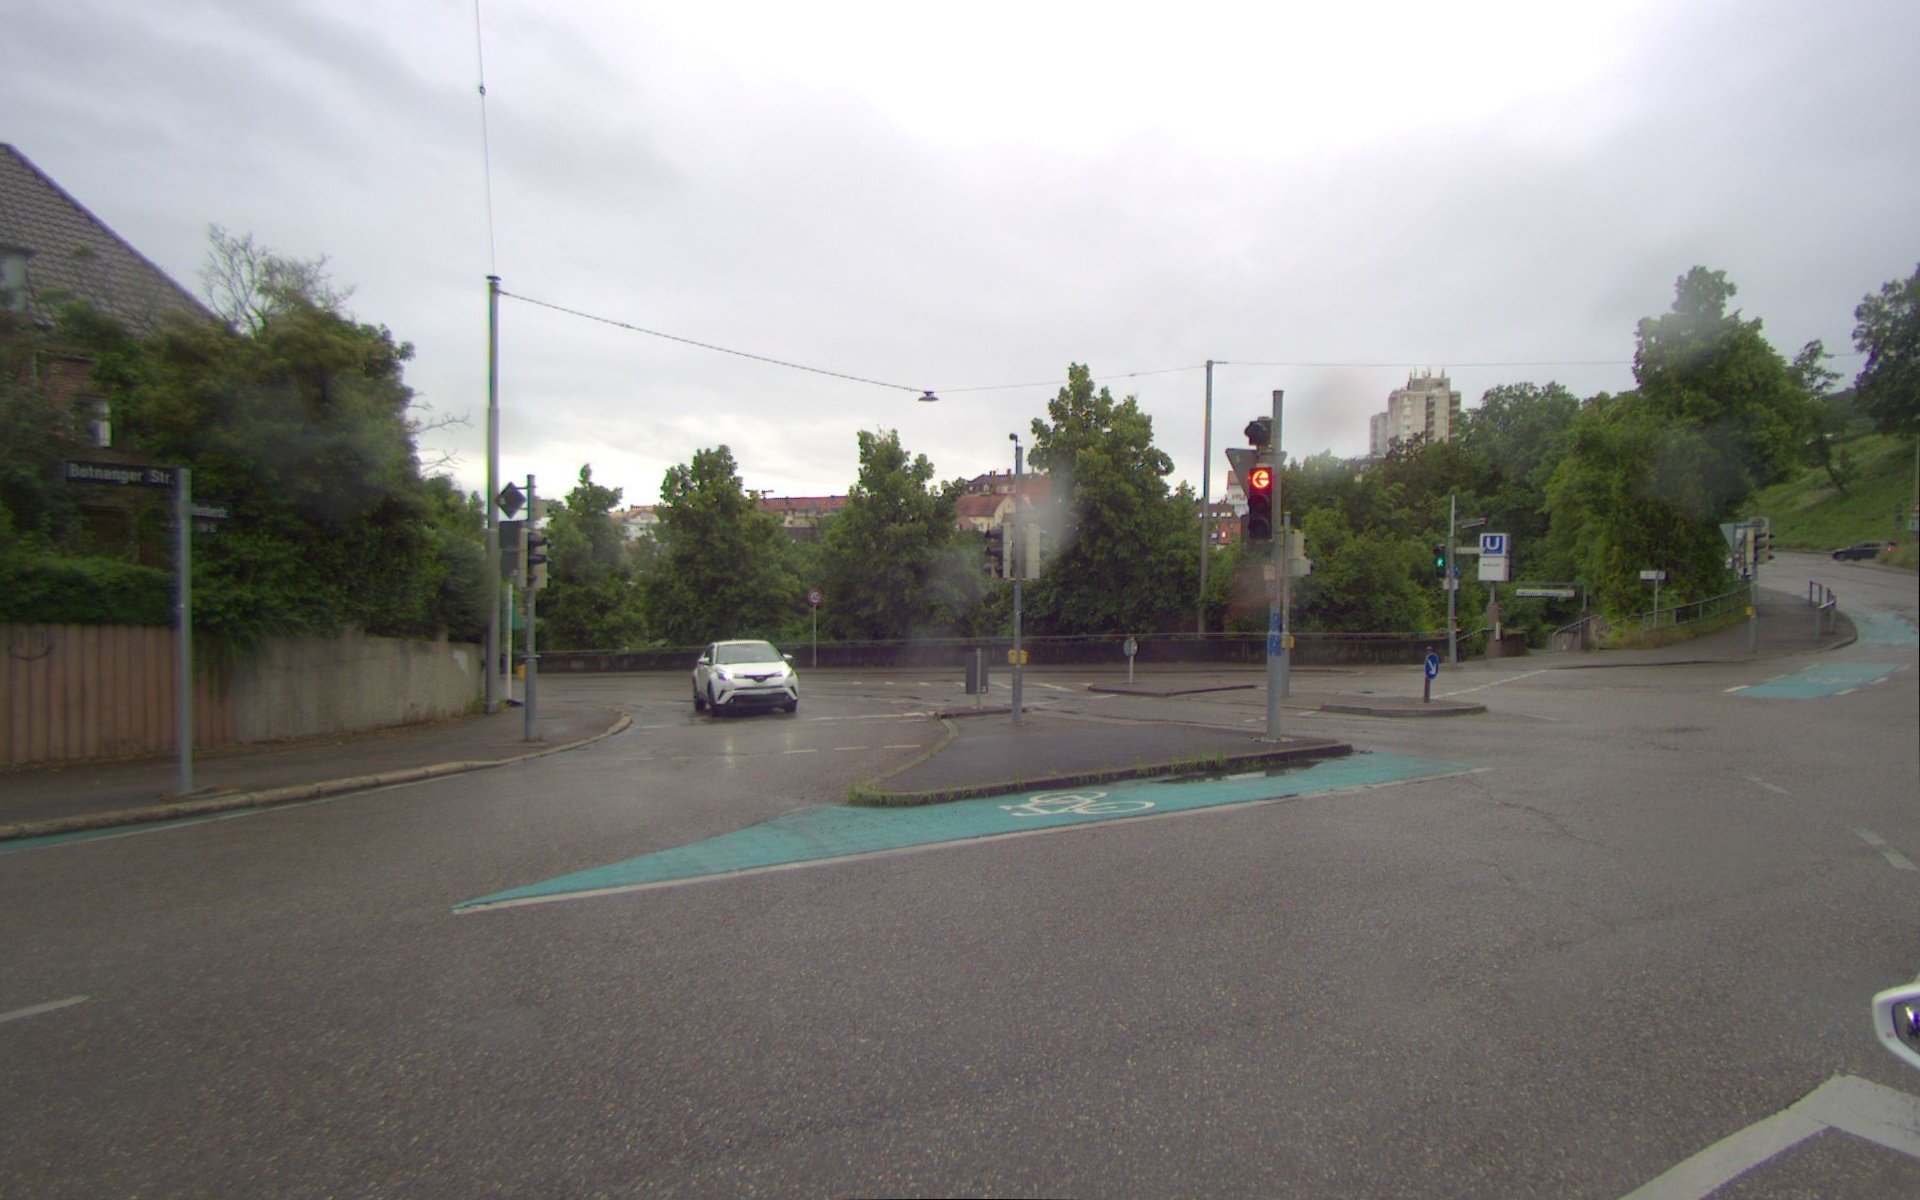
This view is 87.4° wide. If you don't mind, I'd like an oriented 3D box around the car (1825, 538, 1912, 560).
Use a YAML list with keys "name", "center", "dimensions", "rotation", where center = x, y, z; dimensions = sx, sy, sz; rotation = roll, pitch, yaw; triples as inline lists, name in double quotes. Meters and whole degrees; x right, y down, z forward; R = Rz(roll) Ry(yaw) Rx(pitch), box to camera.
- name: "car"
  center: [66.754, -3.724, 73.879]
  dimensions: [1.930, 1.532, 4.389]
  rotation: [-1, 2, -16]

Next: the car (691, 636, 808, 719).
- name: "car"
  center: [-4.615, 1.628, 21.612]
  dimensions: [1.810, 1.527, 3.866]
  rotation: [-2, -2, -21]
